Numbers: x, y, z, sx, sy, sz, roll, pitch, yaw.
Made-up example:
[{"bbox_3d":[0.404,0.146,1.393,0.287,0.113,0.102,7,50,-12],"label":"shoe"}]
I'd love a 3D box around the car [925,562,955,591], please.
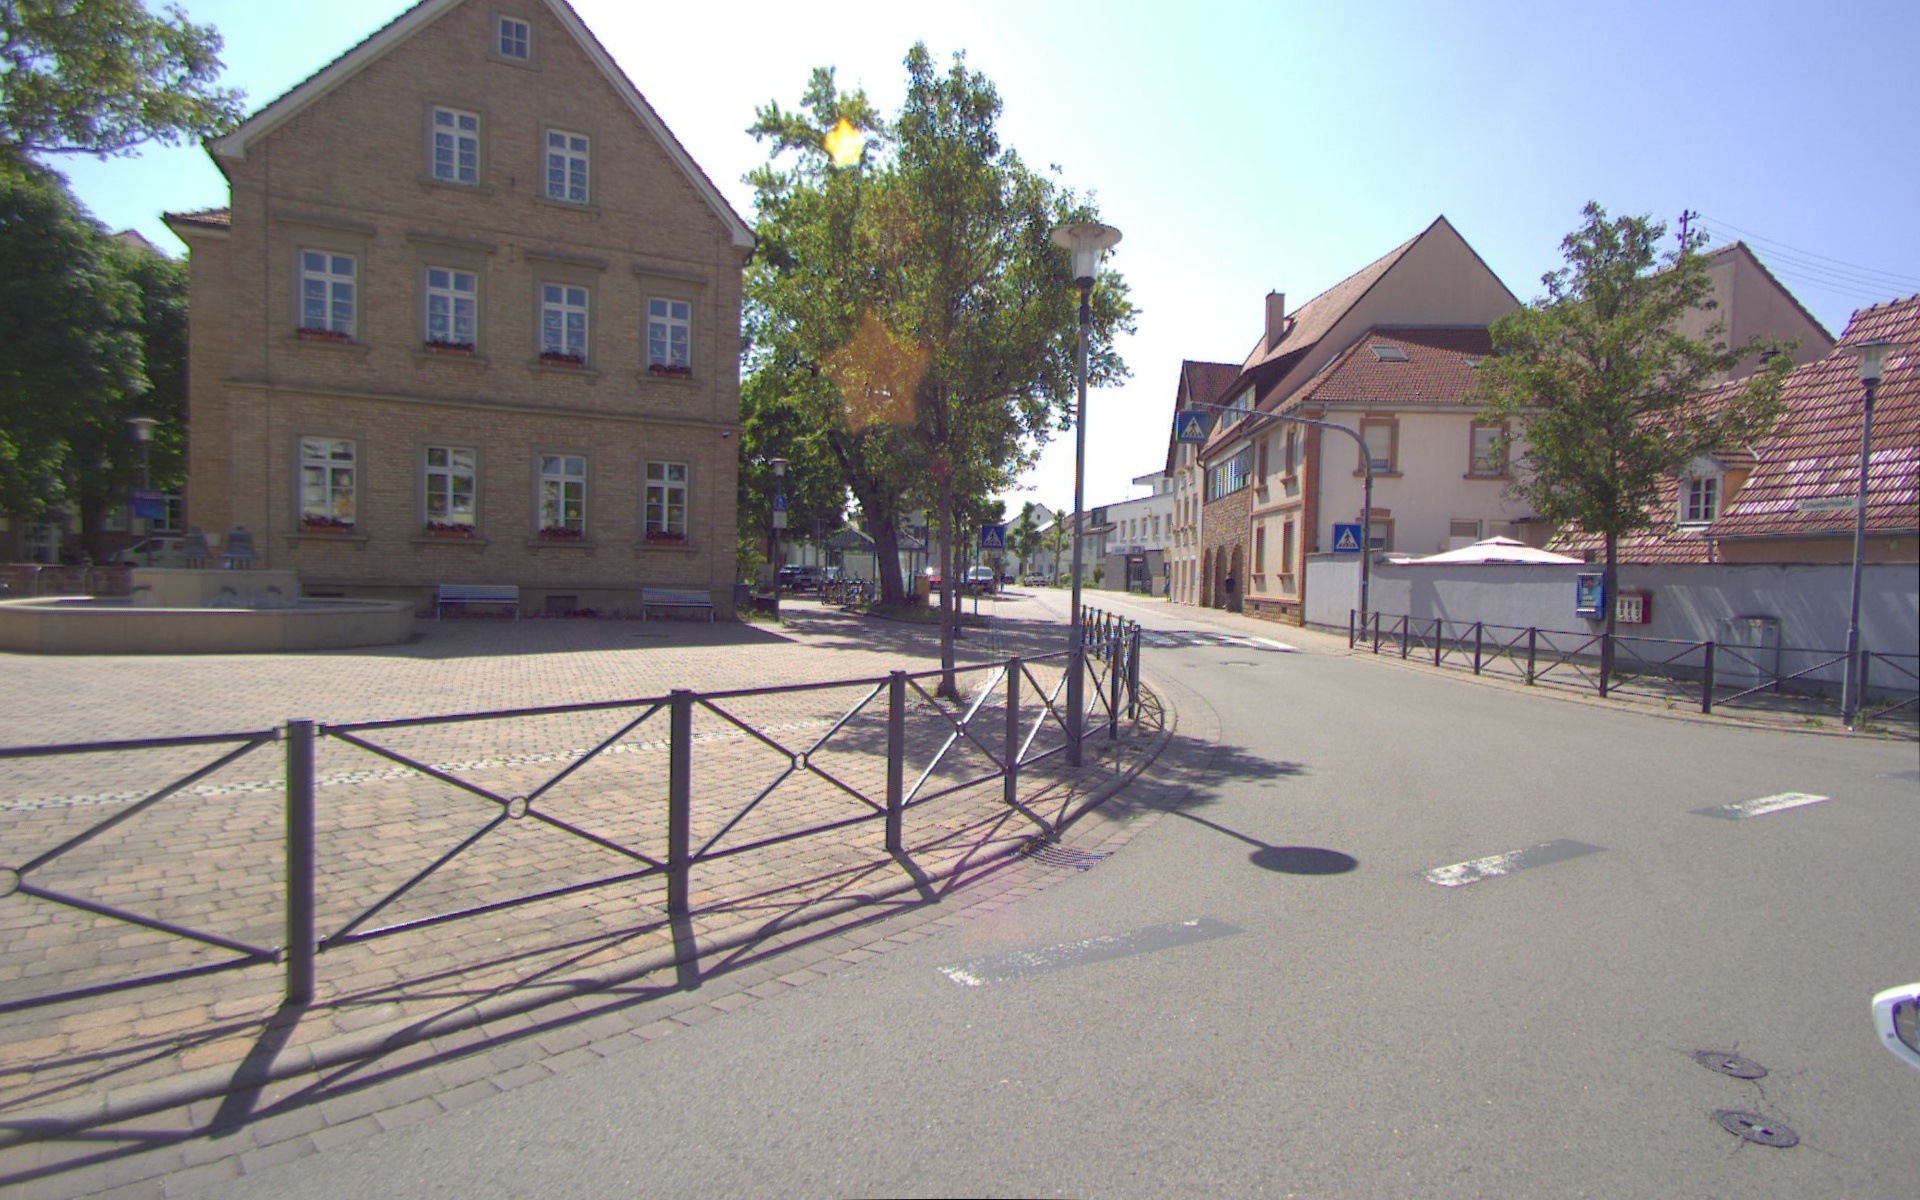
[{"bbox_3d":[-1.299,-1.519,66.738,1.746,1.818,4.000,1,1,1],"label":"car"}]

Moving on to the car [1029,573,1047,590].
[{"bbox_3d":[8.853,-2.093,114.539,1.746,1.804,4.000,1,1,1],"label":"car"}]

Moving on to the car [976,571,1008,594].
[{"bbox_3d":[2.379,-1.339,75.758,1.749,1.668,3.995,1,1,-7],"label":"car"}]

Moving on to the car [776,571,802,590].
[{"bbox_3d":[-11.260,-1.293,66.060,1.559,1.164,3.071,1,1,-11],"label":"car"}]

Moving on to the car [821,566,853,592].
[{"bbox_3d":[-8.122,-1.393,66.111,1.963,1.638,3.994,2,2,-8],"label":"car"}]

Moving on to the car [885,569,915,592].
[{"bbox_3d":[-3.937,-1.277,66.198,1.618,1.488,3.779,1,1,1],"label":"car"}]

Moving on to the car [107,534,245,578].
[{"bbox_3d":[-39.297,-2.177,50.524,5.217,1.963,1.984,1,1,-31],"label":"car"}]

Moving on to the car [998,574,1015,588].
[{"bbox_3d":[5.941,-2.444,128.273,1.747,1.714,3.997,1,1,-4],"label":"car"}]

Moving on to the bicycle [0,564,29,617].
[{"bbox_3d":[-19.895,-0.196,20.631,0.573,1.019,1.940,1,4,-26],"label":"bicycle"}]

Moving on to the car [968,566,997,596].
[{"bbox_3d":[1.515,-1.259,66.510,1.746,1.818,4.000,2,1,2],"label":"car"}]
